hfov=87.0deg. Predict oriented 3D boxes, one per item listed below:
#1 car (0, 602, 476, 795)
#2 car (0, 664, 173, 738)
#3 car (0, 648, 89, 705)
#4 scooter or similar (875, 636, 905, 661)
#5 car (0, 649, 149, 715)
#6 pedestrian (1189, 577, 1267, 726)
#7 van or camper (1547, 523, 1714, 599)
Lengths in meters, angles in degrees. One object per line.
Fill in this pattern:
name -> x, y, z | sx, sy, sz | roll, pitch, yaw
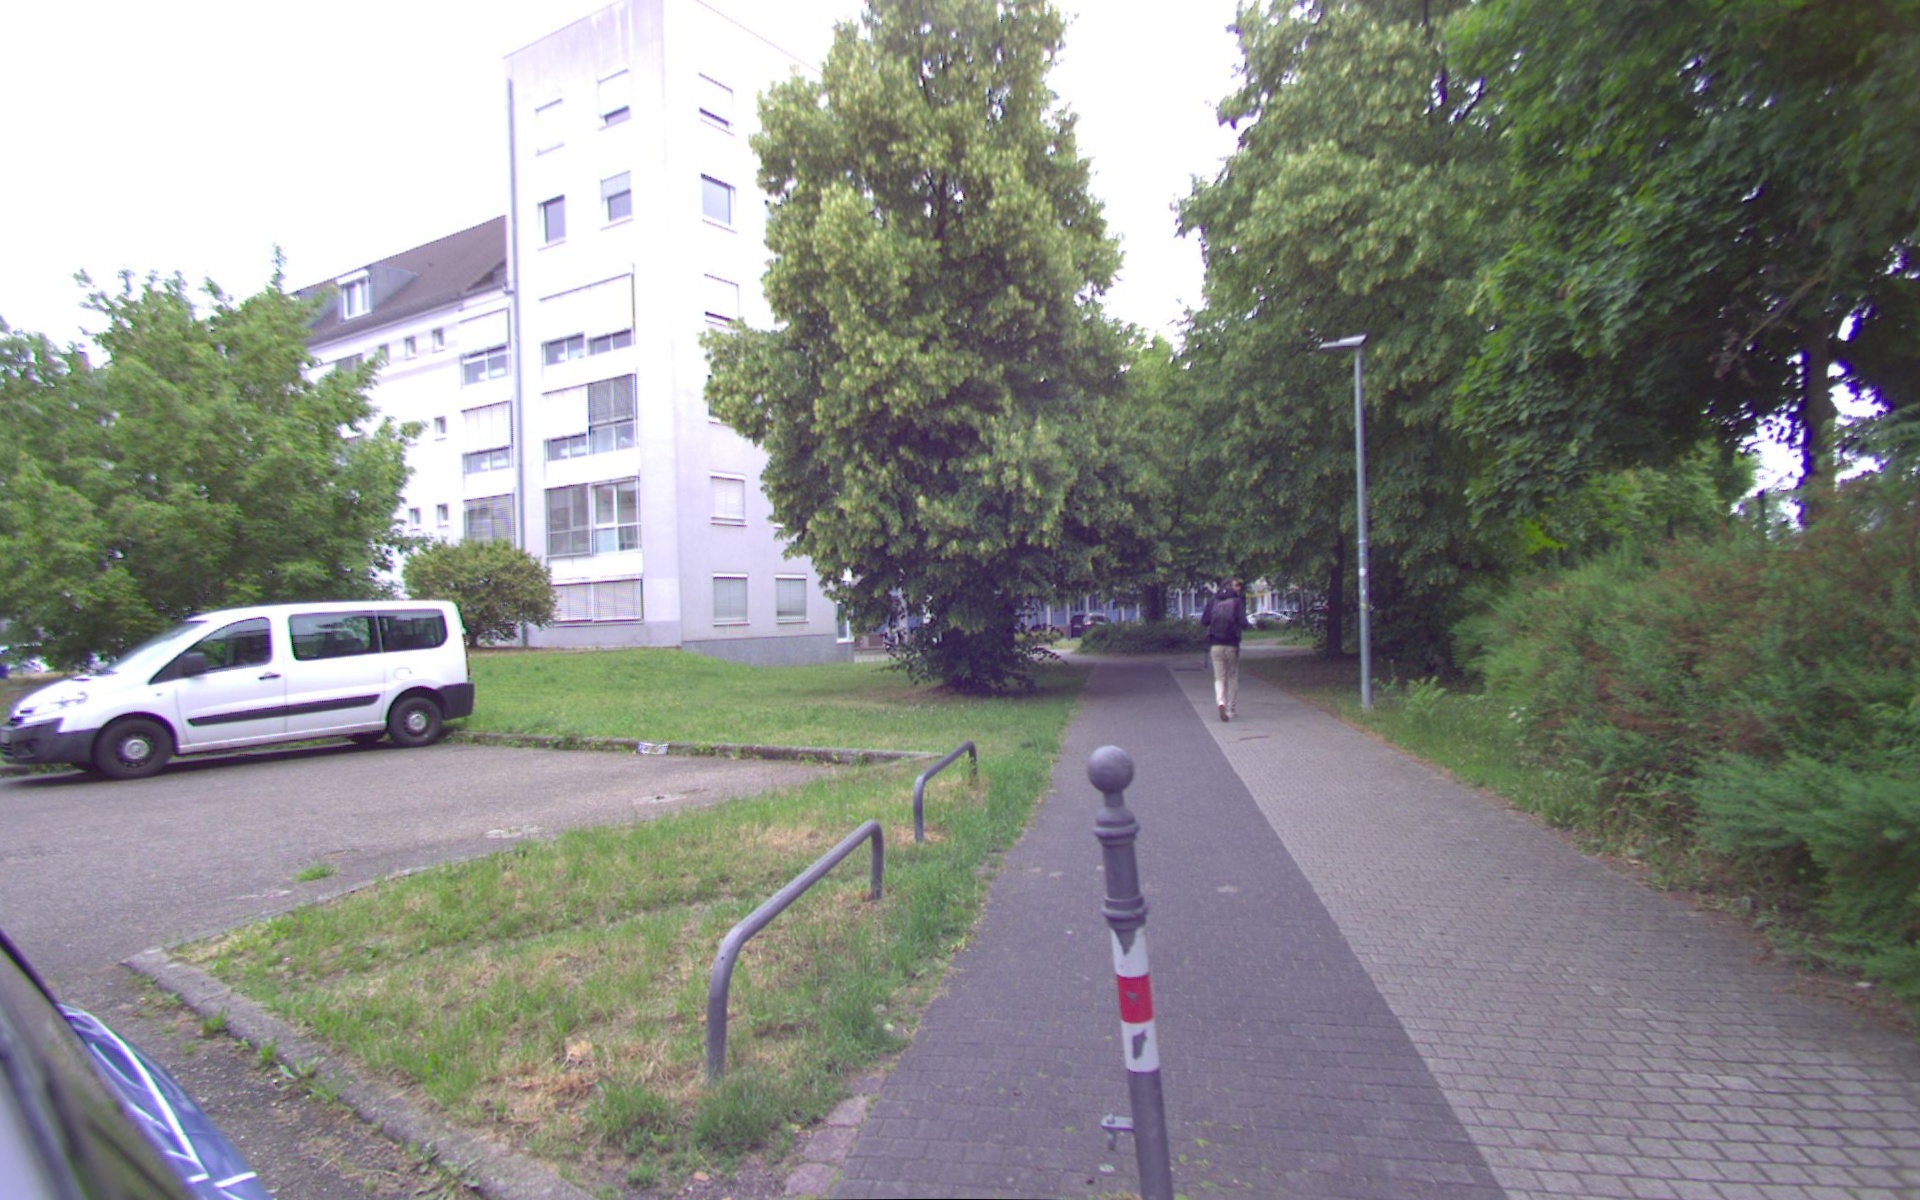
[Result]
car -> -8.851, 1.054, 12.601 | 1.899, 1.887, 4.712 | -5, -3, 38
car -> -25.181, 2.784, 28.544 | 1.992, 1.748, 4.296 | -2, -1, 30
car -> -32.036, 2.572, 33.642 | 1.992, 1.748, 4.296 | -2, -1, 30
scooter or similar -> -3.656, 2.514, 53.045 | 0.789, 1.197, 2.506 | -2, -1, 15
car -> -27.472, 2.440, 30.502 | 1.992, 1.748, 4.296 | -2, -1, 30
pedestrian -> 3.283, 0.614, 12.411 | 0.681, 1.762, 0.613 | -3, -2, 41
van or camper -> 22.473, -1.234, 34.004 | 4.494, 2.275, 1.975 | -2, -1, 37
